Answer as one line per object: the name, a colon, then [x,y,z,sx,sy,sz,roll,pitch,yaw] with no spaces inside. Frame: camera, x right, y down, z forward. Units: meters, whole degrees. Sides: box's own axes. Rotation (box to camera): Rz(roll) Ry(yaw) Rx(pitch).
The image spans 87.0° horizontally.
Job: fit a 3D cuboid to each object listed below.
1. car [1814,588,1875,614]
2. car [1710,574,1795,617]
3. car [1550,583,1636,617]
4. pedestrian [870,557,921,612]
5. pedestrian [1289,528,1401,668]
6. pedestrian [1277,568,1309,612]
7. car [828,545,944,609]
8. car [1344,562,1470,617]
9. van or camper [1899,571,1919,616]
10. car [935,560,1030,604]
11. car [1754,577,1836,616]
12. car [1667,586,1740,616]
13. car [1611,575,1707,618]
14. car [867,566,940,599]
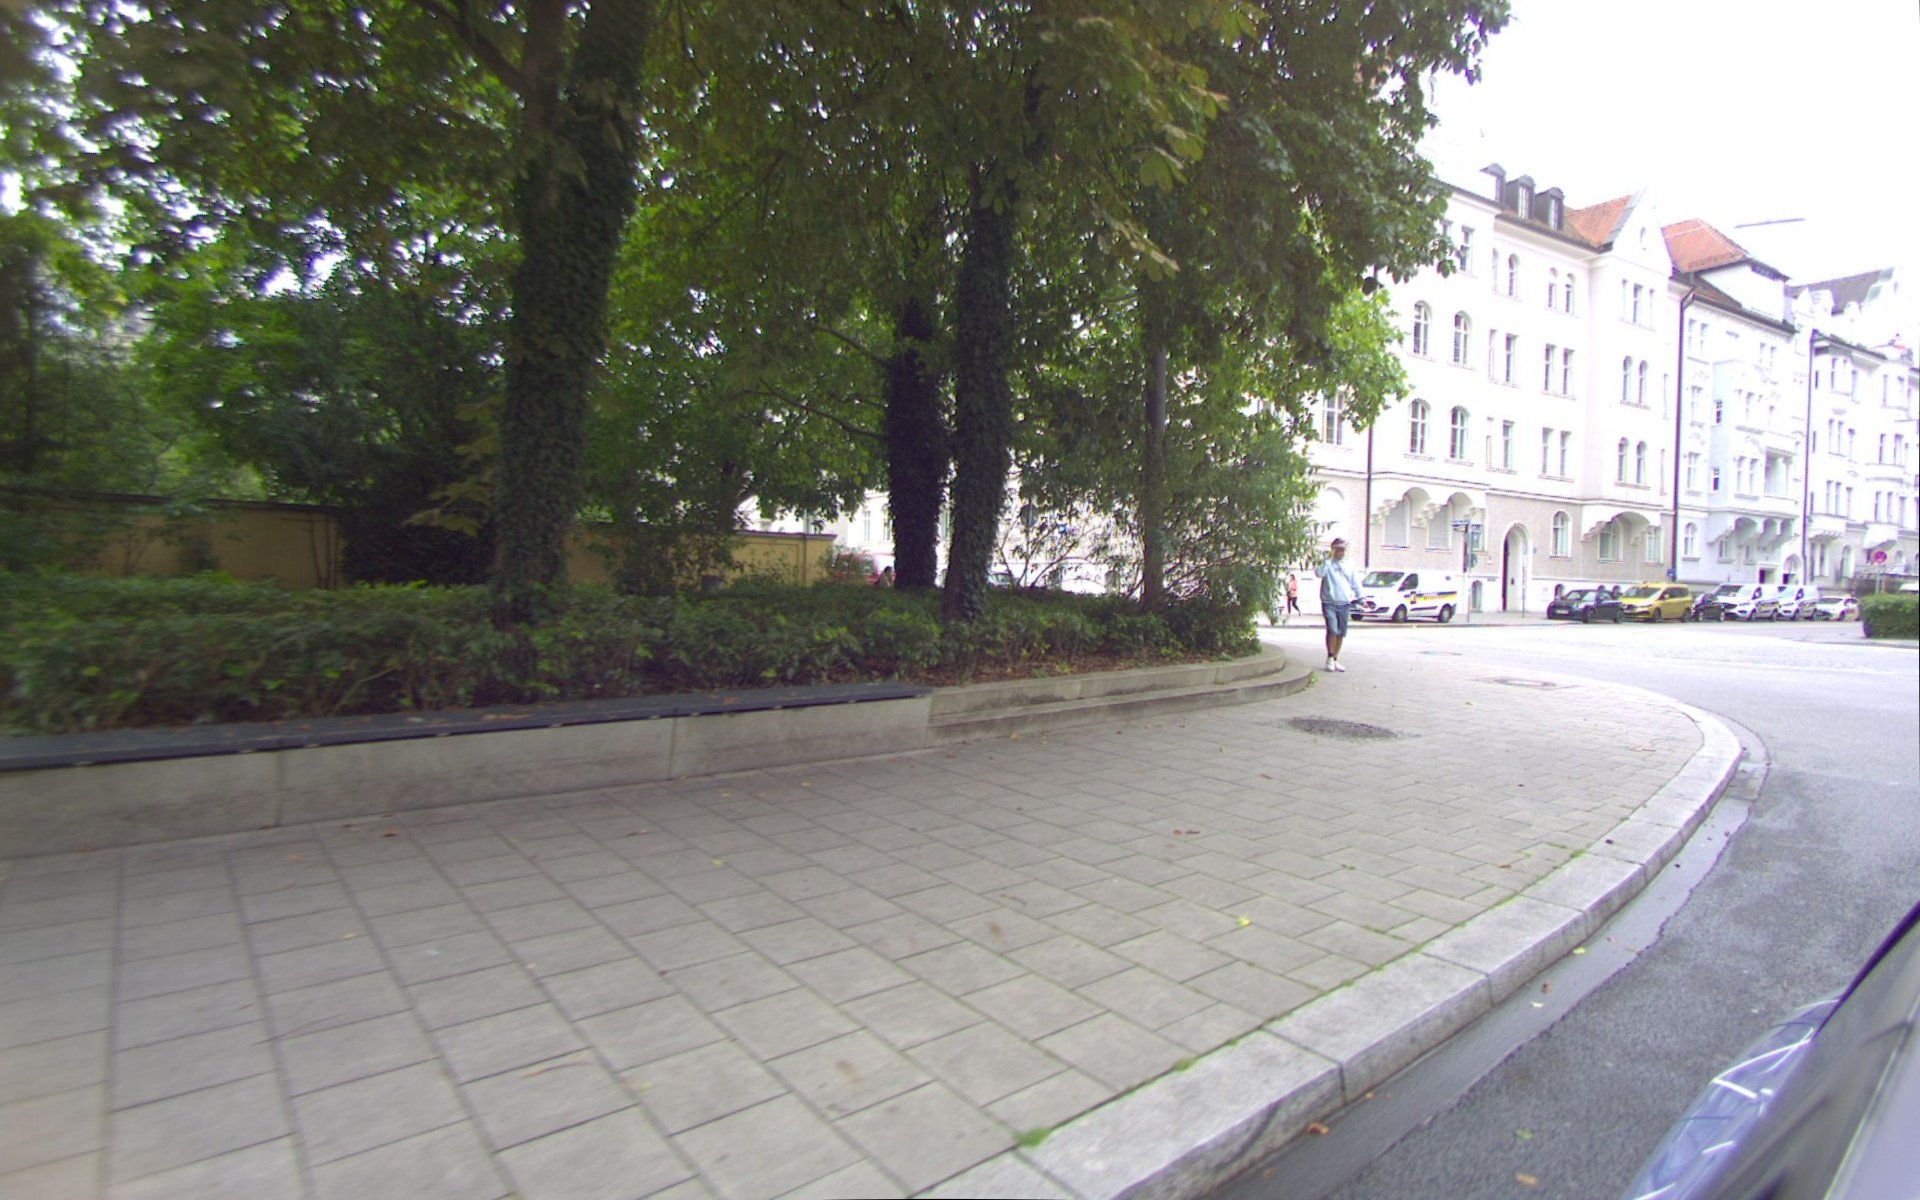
car: [51.184,0.072,58.554,3.469,1.363,1.699,1,2,-32]
car: [41.222,-0.230,52.606,4.730,2.118,2.125,1,2,-35]
car: [27.492,0.009,43.924,3.606,1.363,1.699,1,2,-31]
pedestrian: [-1.642,-0.389,25.664,0.992,1.355,0.878,1,1,-26]
pedestrian: [5.157,-0.039,13.585,0.859,1.793,1.054,1,1,-28]
pedestrian: [12.858,-0.391,39.083,0.838,1.656,0.734,1,1,-31]
car: [-2.526,-0.799,33.275,1.843,1.944,4.893,-1,3,-30]
car: [16.740,-0.390,37.830,4.815,1.904,1.927,0,2,-33]
van or camper: [66.846,-0.441,69.193,6.309,2.949,2.003,0,2,-30]
car: [0.862,-0.775,41.665,1.717,1.622,4.502,2,1,-31]
car: [46.191,-0.168,55.966,4.728,2.019,2.126,1,1,-33]
car: [36.245,0.069,49.339,3.469,1.363,1.699,1,2,-32]
car: [32.135,-0.160,46.524,4.052,1.861,2.030,1,1,-29]
car: [-2.713,-0.861,48.225,1.666,1.432,3.662,2,1,-37]
